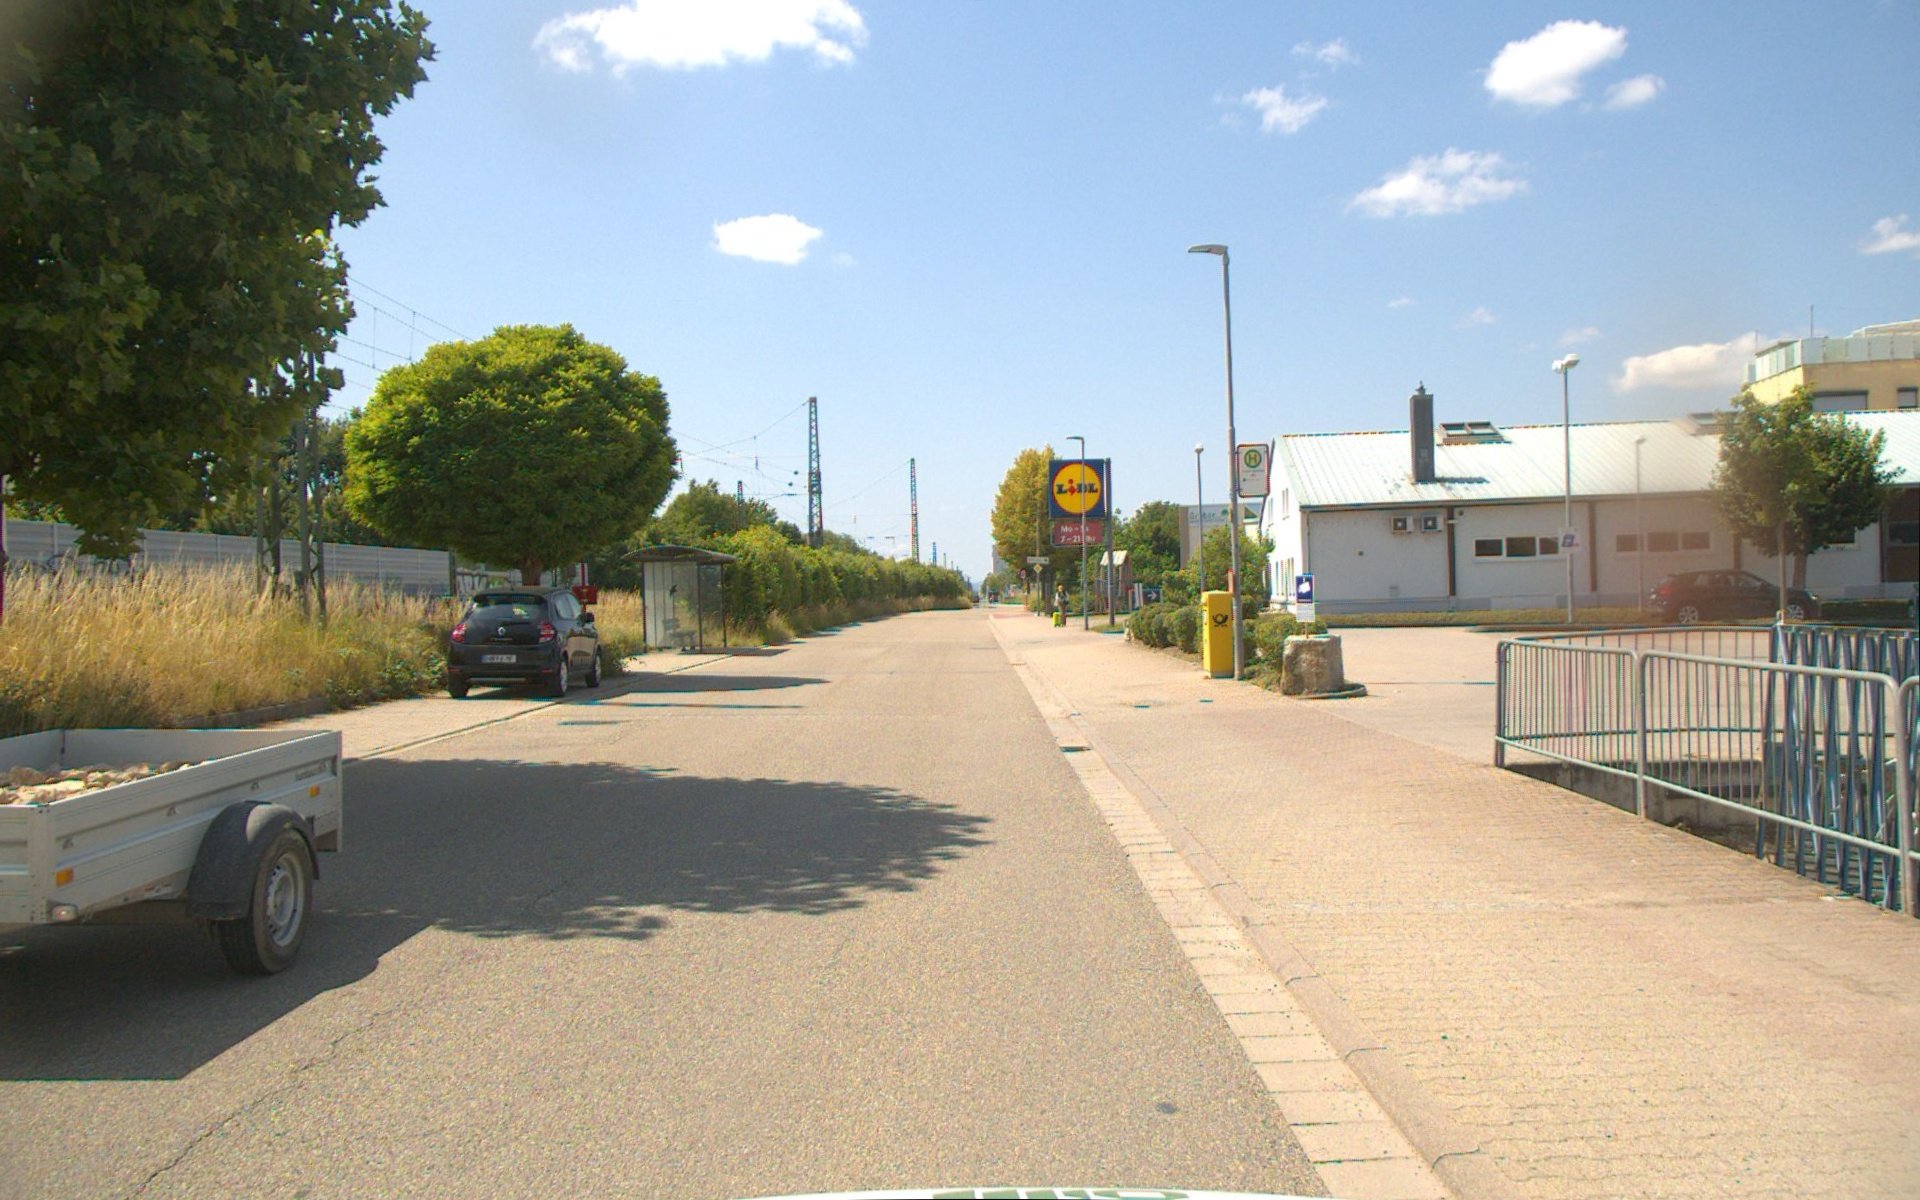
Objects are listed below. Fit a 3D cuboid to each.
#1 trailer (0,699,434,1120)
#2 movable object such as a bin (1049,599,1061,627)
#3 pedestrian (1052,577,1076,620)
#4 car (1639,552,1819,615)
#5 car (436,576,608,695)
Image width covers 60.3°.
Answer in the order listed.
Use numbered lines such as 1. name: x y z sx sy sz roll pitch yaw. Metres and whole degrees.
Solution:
1. trailer: -3.548 0.993 6.360 1.782 0.865 4.221 -3 0 -2
2. movable object such as a bin: 3.668 0.501 63.693 0.367 1.047 0.498 -2 0 -3
3. pedestrian: 4.043 -0.058 64.231 0.746 1.629 1.210 -2 0 -3
4. car: 20.073 -0.427 43.342 3.902 1.520 2.002 -1 1 12
5. car: -6.500 0.477 24.904 1.706 1.624 3.578 -1 1 -2
